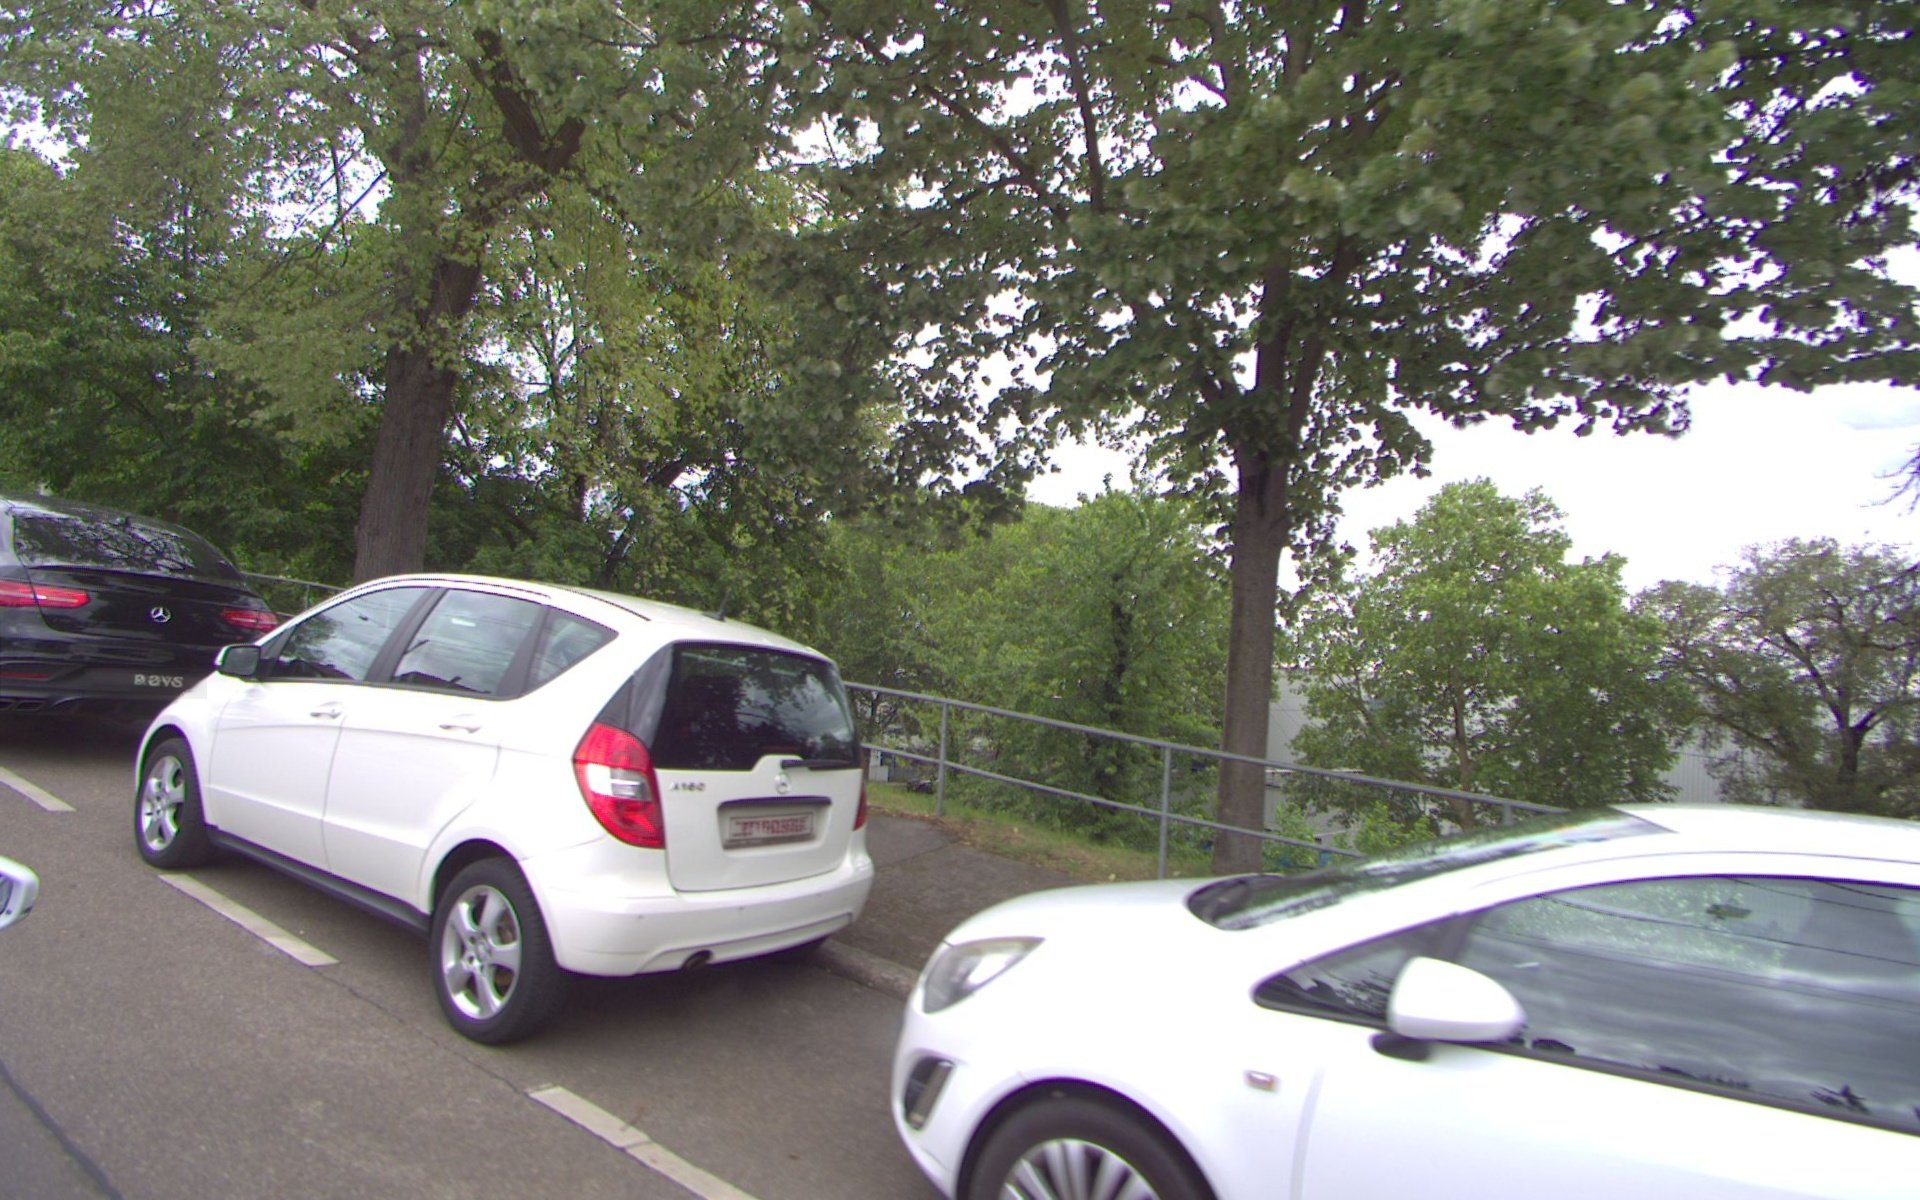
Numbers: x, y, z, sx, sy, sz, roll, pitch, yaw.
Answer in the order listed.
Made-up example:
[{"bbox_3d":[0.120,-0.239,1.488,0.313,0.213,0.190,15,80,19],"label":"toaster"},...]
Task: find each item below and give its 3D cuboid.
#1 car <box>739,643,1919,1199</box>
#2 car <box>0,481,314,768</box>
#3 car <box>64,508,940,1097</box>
[{"bbox_3d":[1.635,1.168,2.261,3.996,1.532,1.635,6,-4,31],"label":"car"},{"bbox_3d":[-7.422,0.031,7.923,4.981,1.695,1.882,6,-4,33],"label":"car"},{"bbox_3d":[-2.348,0.659,4.915,4.020,1.647,1.733,6,-5,31],"label":"car"}]
